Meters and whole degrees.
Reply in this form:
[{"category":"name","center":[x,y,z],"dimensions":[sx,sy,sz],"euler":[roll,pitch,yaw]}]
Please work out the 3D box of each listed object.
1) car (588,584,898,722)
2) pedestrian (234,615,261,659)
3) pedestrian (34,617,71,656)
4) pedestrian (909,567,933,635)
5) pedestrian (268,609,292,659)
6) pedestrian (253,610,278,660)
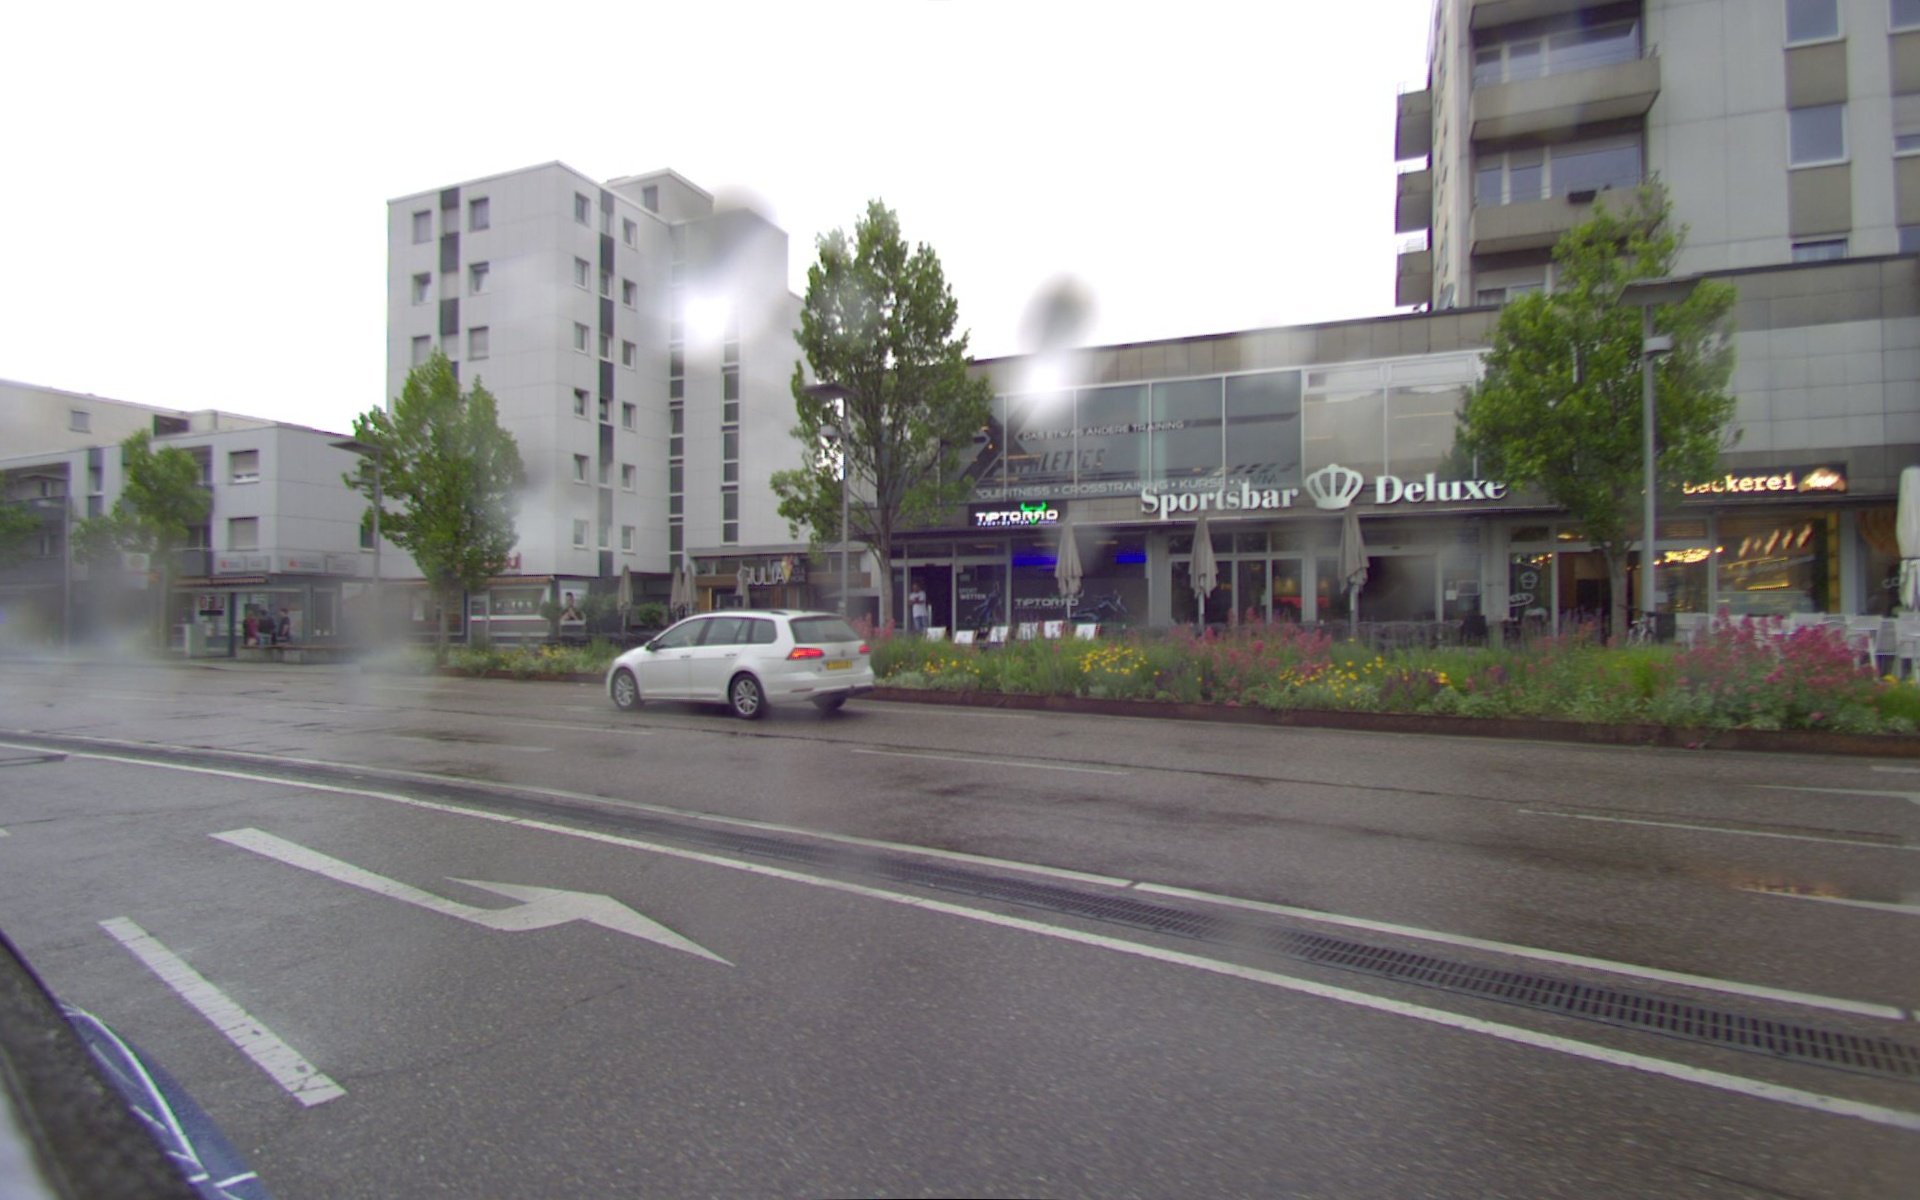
[{"category":"car","center":[-3.210,0.682,14.567],"dimensions":[4.497,1.695,1.869],"euler":[-1,-1,36]},{"category":"pedestrian","center":[-25.144,1.292,35.714],"dimensions":[0.606,1.516,0.537],"euler":[-1,-1,-1]},{"category":"pedestrian","center":[-39.173,1.558,43.686],"dimensions":[0.722,1.658,1.003],"euler":[-1,-1,22]},{"category":"pedestrian","center":[-1.089,0.033,28.027],"dimensions":[0.500,1.862,0.422],"euler":[-1,-1,33]},{"category":"pedestrian","center":[-23.209,1.158,34.545],"dimensions":[0.477,1.672,0.531],"euler":[-1,-1,28]},{"category":"pedestrian","center":[-23.330,1.168,34.006],"dimensions":[0.533,1.672,0.476],"euler":[-1,-1,24]}]
